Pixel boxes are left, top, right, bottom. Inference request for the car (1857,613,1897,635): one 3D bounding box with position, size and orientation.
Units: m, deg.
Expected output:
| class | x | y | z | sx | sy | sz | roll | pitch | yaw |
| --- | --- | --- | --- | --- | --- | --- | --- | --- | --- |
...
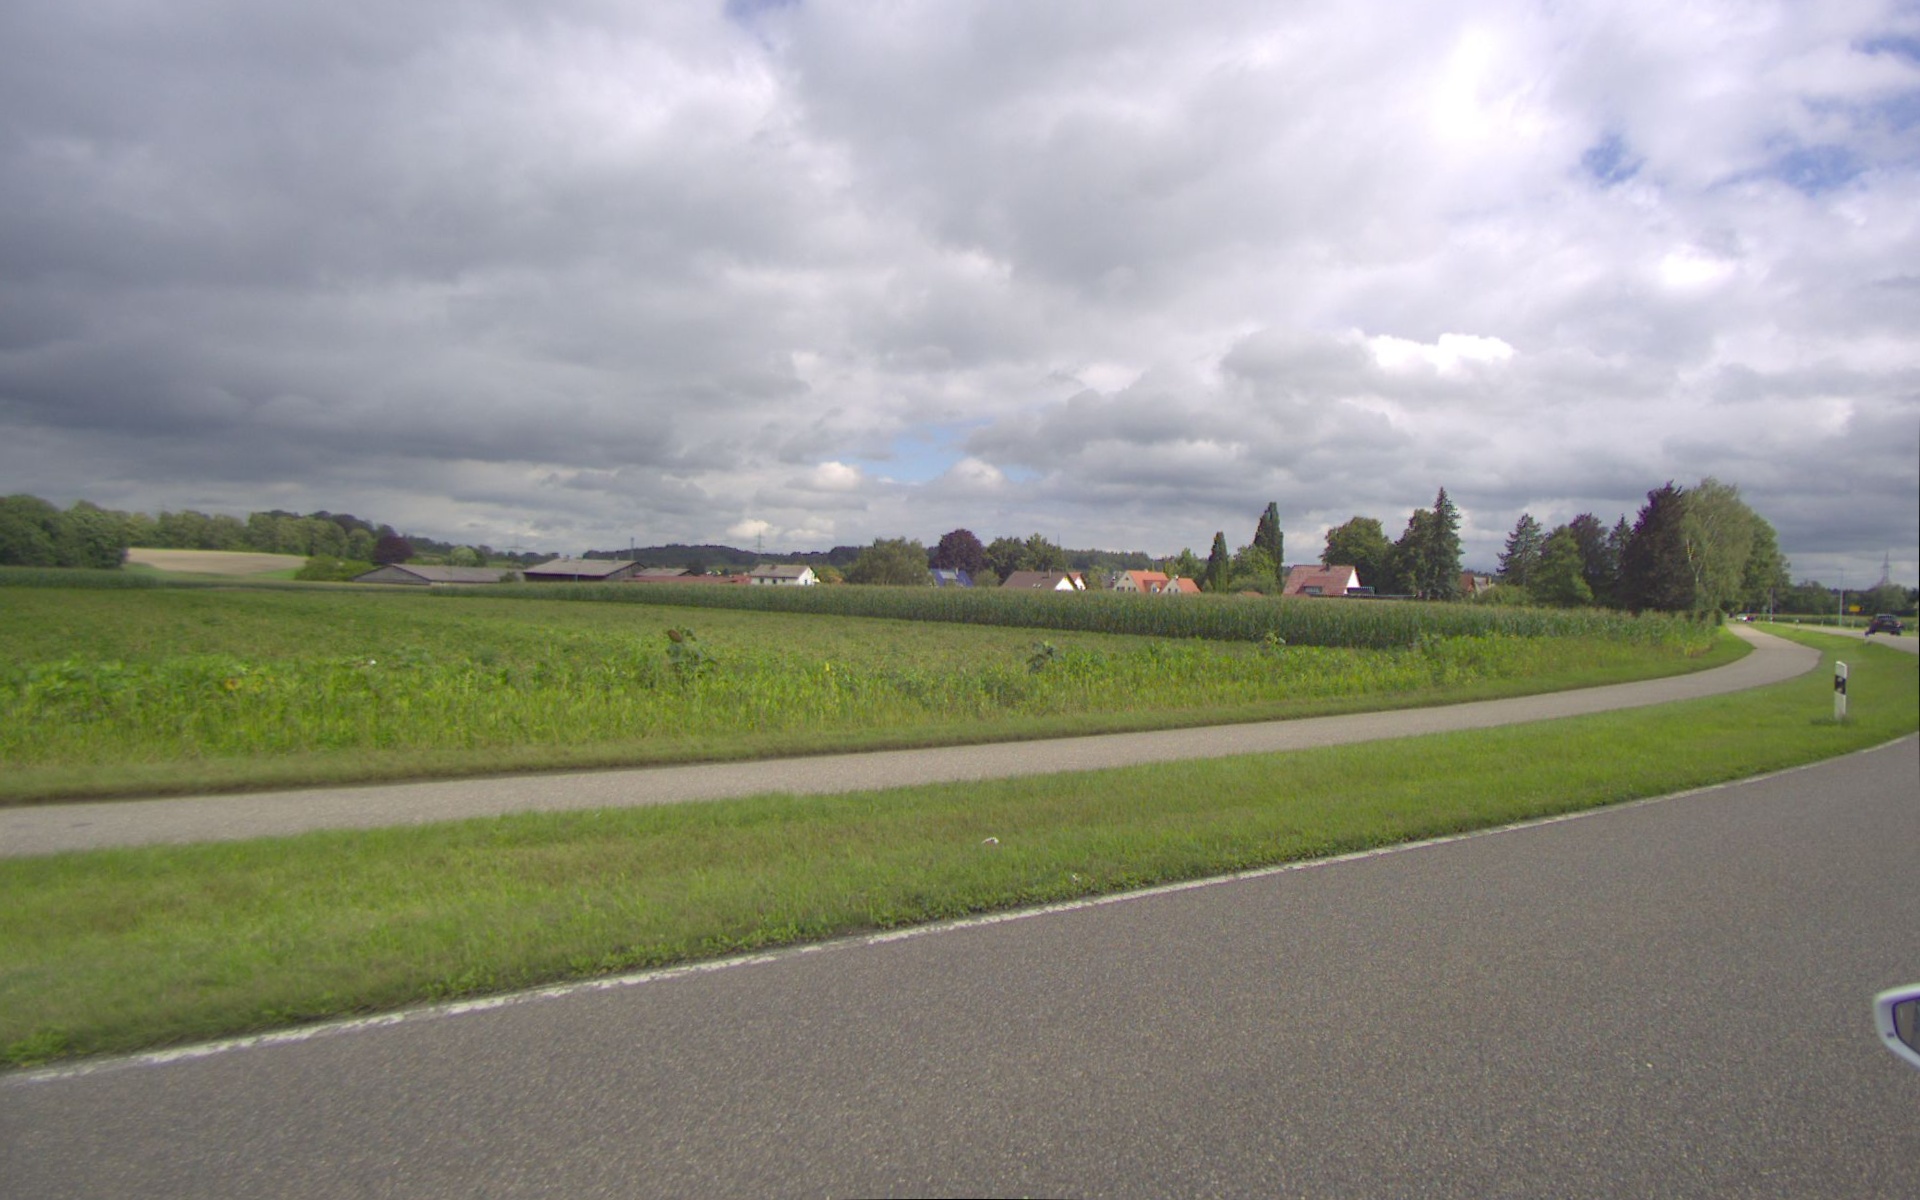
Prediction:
| class | x | y | z | sx | sy | sz | roll | pitch | yaw |
| --- | --- | --- | --- | --- | --- | --- | --- | --- | --- |
| car | 78.062 | 1.987 | 85.583 | 1.881 | 1.689 | 3.987 | 4 | 2 | 35 |
